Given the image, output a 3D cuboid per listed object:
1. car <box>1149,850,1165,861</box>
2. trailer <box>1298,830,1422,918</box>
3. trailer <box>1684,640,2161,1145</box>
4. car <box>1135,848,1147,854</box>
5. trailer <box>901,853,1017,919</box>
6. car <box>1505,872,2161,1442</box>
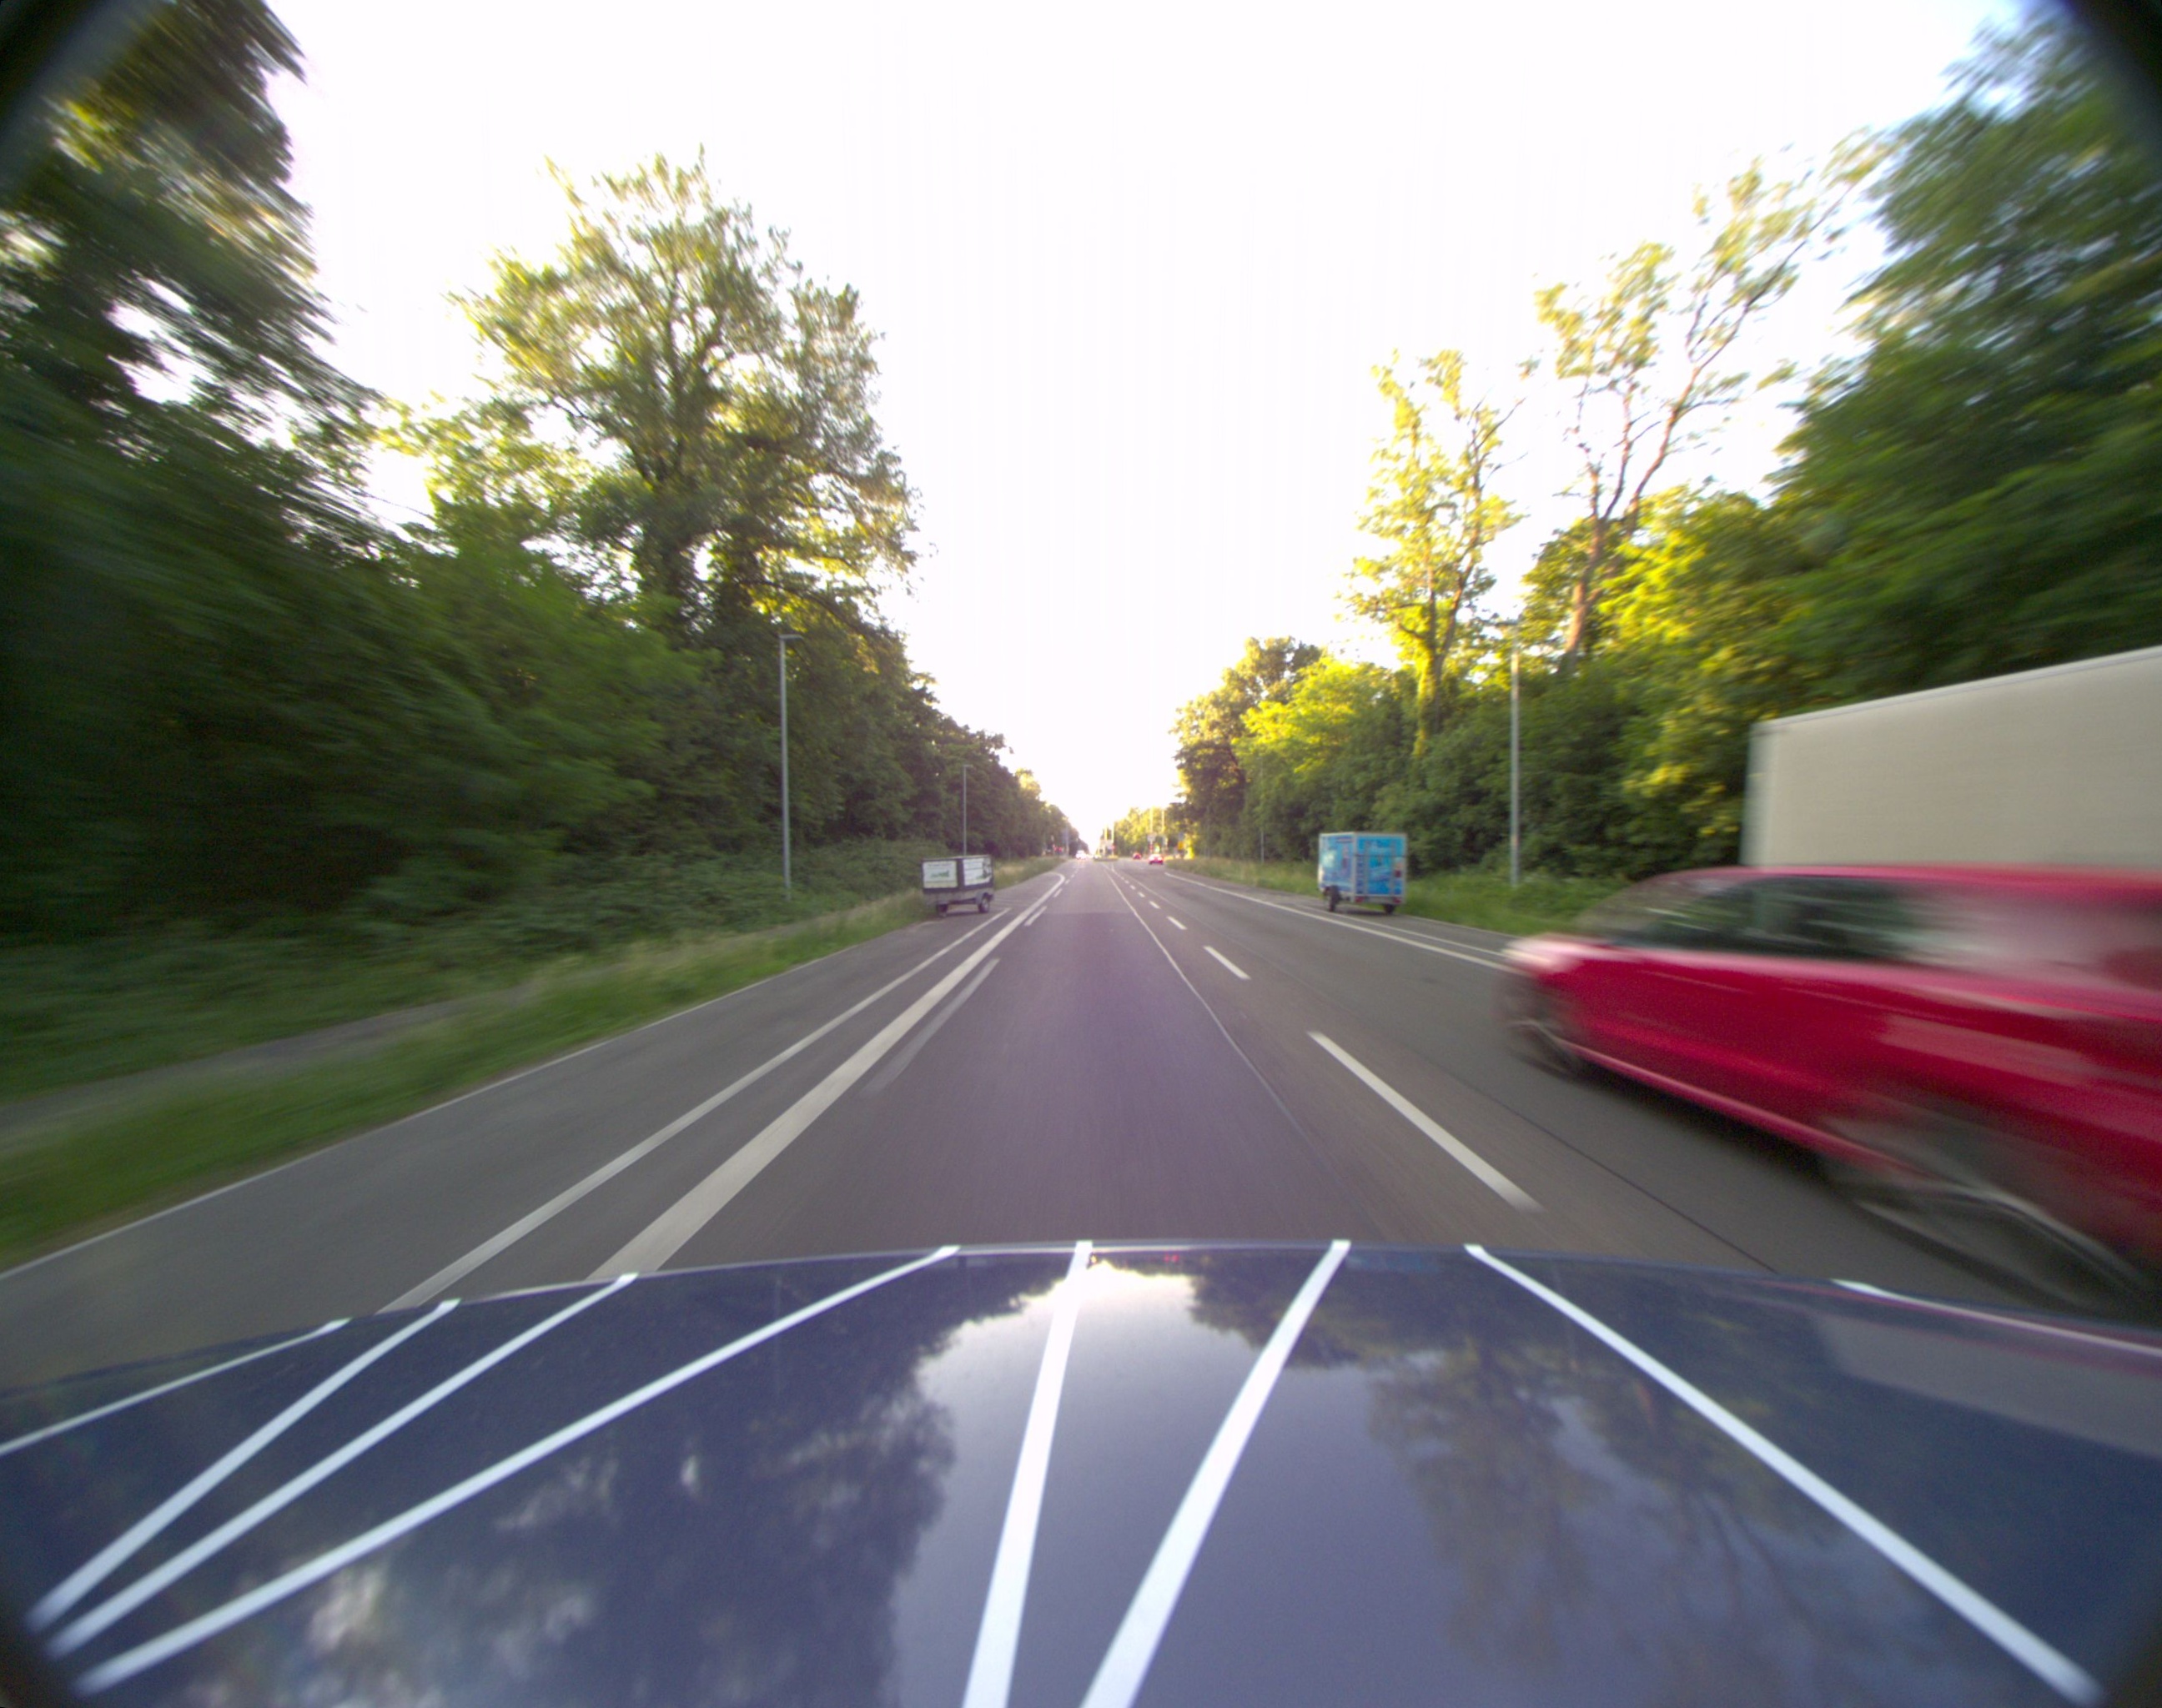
[{"bbox_3d":[11.173,0.242,111.659,2.068,1.427,4.467,1,-1,3],"label":"car"},{"bbox_3d":[7.420,0.490,20.671,1.822,2.155,4.142,0,0,0],"label":"trailer"},{"bbox_3d":[7.394,0.239,4.981,2.331,2.907,5.626,2,0,0],"label":"trailer"},{"bbox_3d":[14.738,-0.720,186.300,1.821,1.525,4.461,1,1,16],"label":"car"},{"bbox_3d":[-3.314,0.824,21.318,1.457,1.652,3.783,0,1,22],"label":"trailer"},{"bbox_3d":[3.866,0.883,3.452,1.686,1.477,4.038,0,0,1],"label":"car"}]
